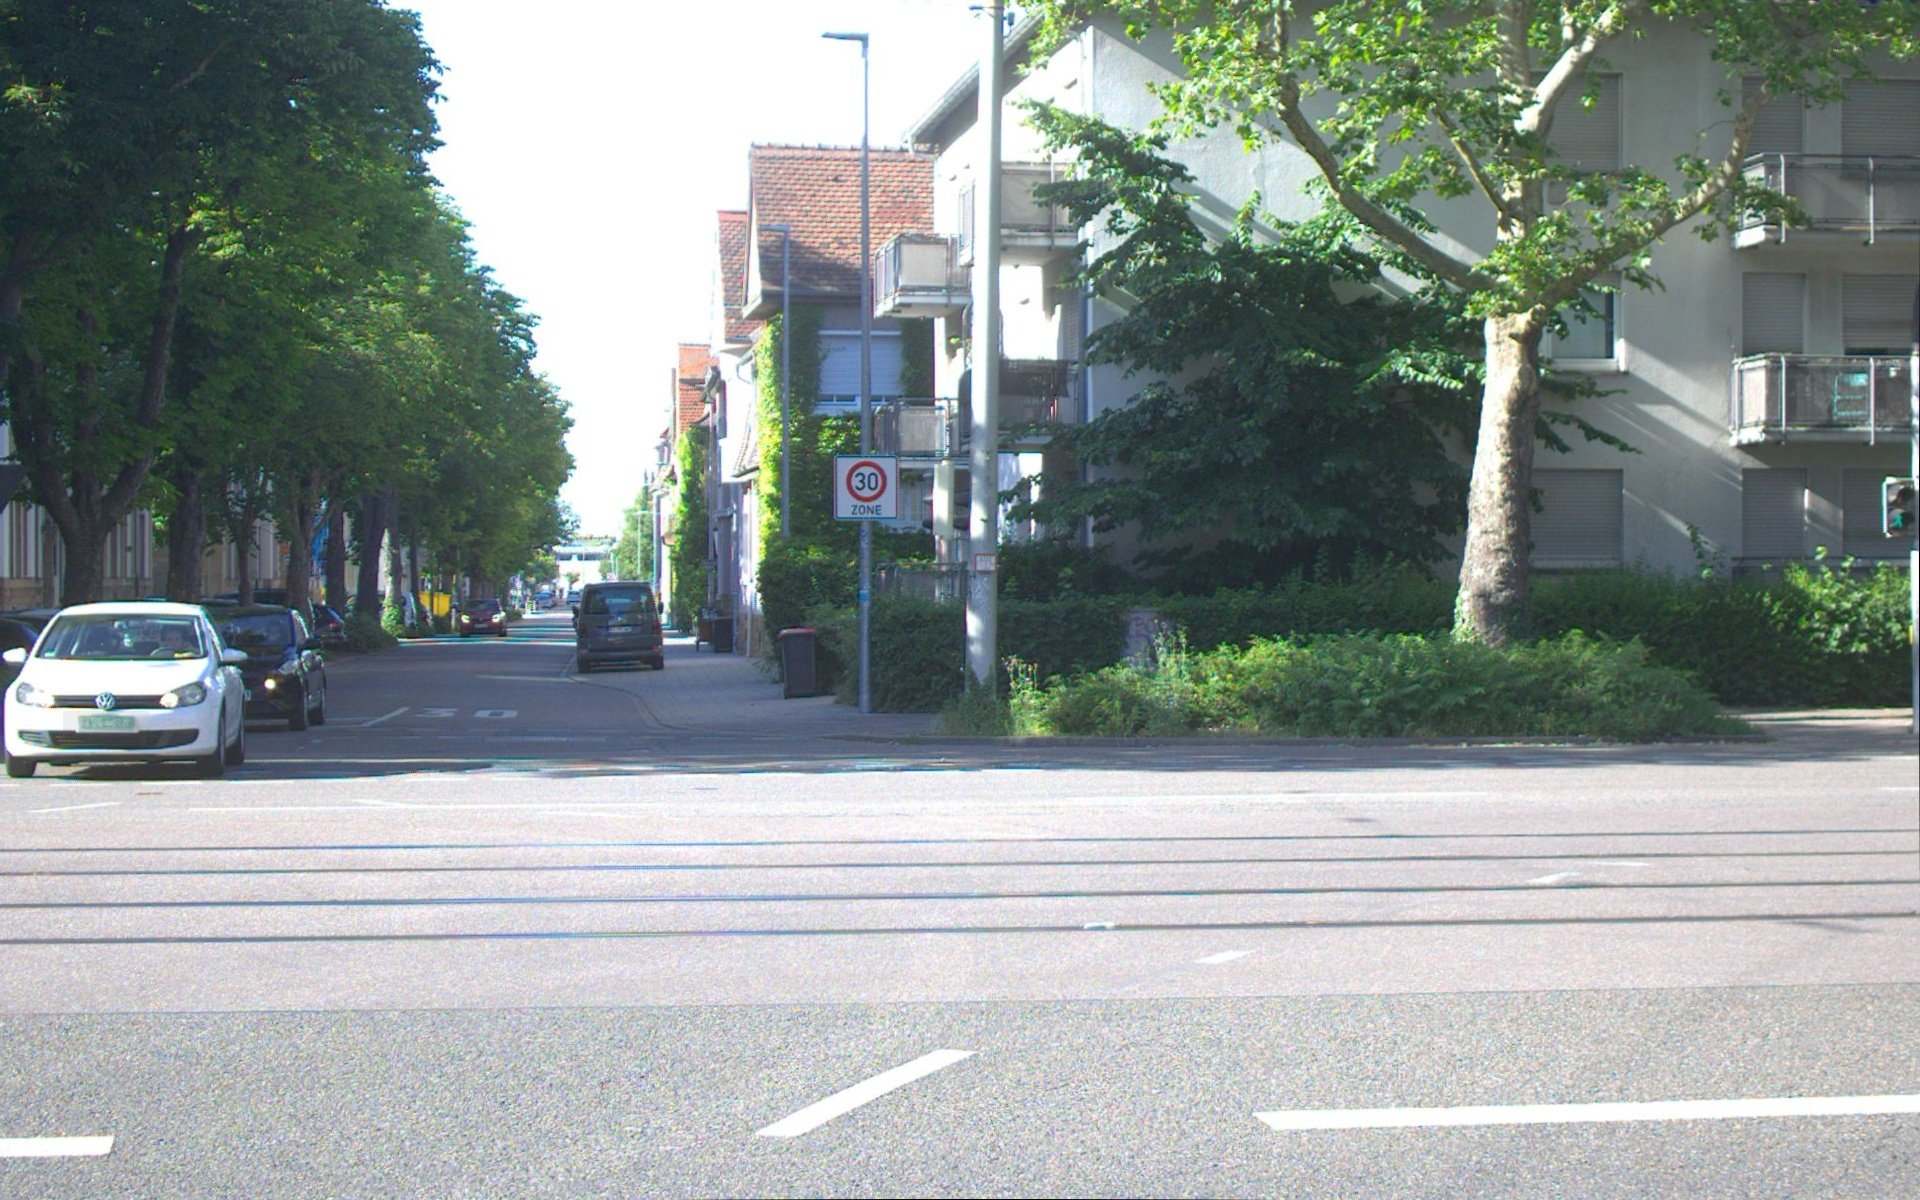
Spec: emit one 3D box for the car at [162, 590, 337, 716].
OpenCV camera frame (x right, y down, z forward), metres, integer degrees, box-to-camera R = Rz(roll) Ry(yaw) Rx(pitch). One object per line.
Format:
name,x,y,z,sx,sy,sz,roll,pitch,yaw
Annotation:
car,-8.582,0.606,41.766,1.660,1.459,3.809,0,0,-5

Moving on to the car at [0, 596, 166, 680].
car,-15.506,0.621,57.359,4.211,1.344,1.703,1,-1,-6

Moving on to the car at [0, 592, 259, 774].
car,-7.114,0.681,29.549,1.806,1.453,4.001,0,-1,-7

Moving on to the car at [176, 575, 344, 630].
car,-19.858,0.081,97.672,4.531,1.498,1.892,1,0,-7

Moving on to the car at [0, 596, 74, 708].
car,-14.012,0.709,46.155,3.881,1.471,1.615,-1,0,-6

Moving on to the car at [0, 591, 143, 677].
car,-16.034,0.581,59.474,3.433,1.447,1.703,1,-1,-4

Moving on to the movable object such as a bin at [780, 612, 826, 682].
movable object such as a bin,-2.465,0.730,53.920,0.597,1.041,0.707,-4,1,-8

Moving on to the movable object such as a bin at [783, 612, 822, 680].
movable object such as a bin,-2.511,0.725,54.778,0.483,1.041,0.657,-4,1,-8

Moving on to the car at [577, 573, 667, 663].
car,-7.579,0.373,77.070,1.864,1.909,4.783,2,0,-6

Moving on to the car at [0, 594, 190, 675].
car,-17.155,0.662,66.967,3.986,1.503,1.722,-1,0,-4

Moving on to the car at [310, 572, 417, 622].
car,-23.000,-0.115,132.574,3.986,1.755,1.798,2,-1,-9

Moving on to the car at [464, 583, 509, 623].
car,-18.514,0.119,134.577,1.641,1.503,3.703,-1,0,-6
